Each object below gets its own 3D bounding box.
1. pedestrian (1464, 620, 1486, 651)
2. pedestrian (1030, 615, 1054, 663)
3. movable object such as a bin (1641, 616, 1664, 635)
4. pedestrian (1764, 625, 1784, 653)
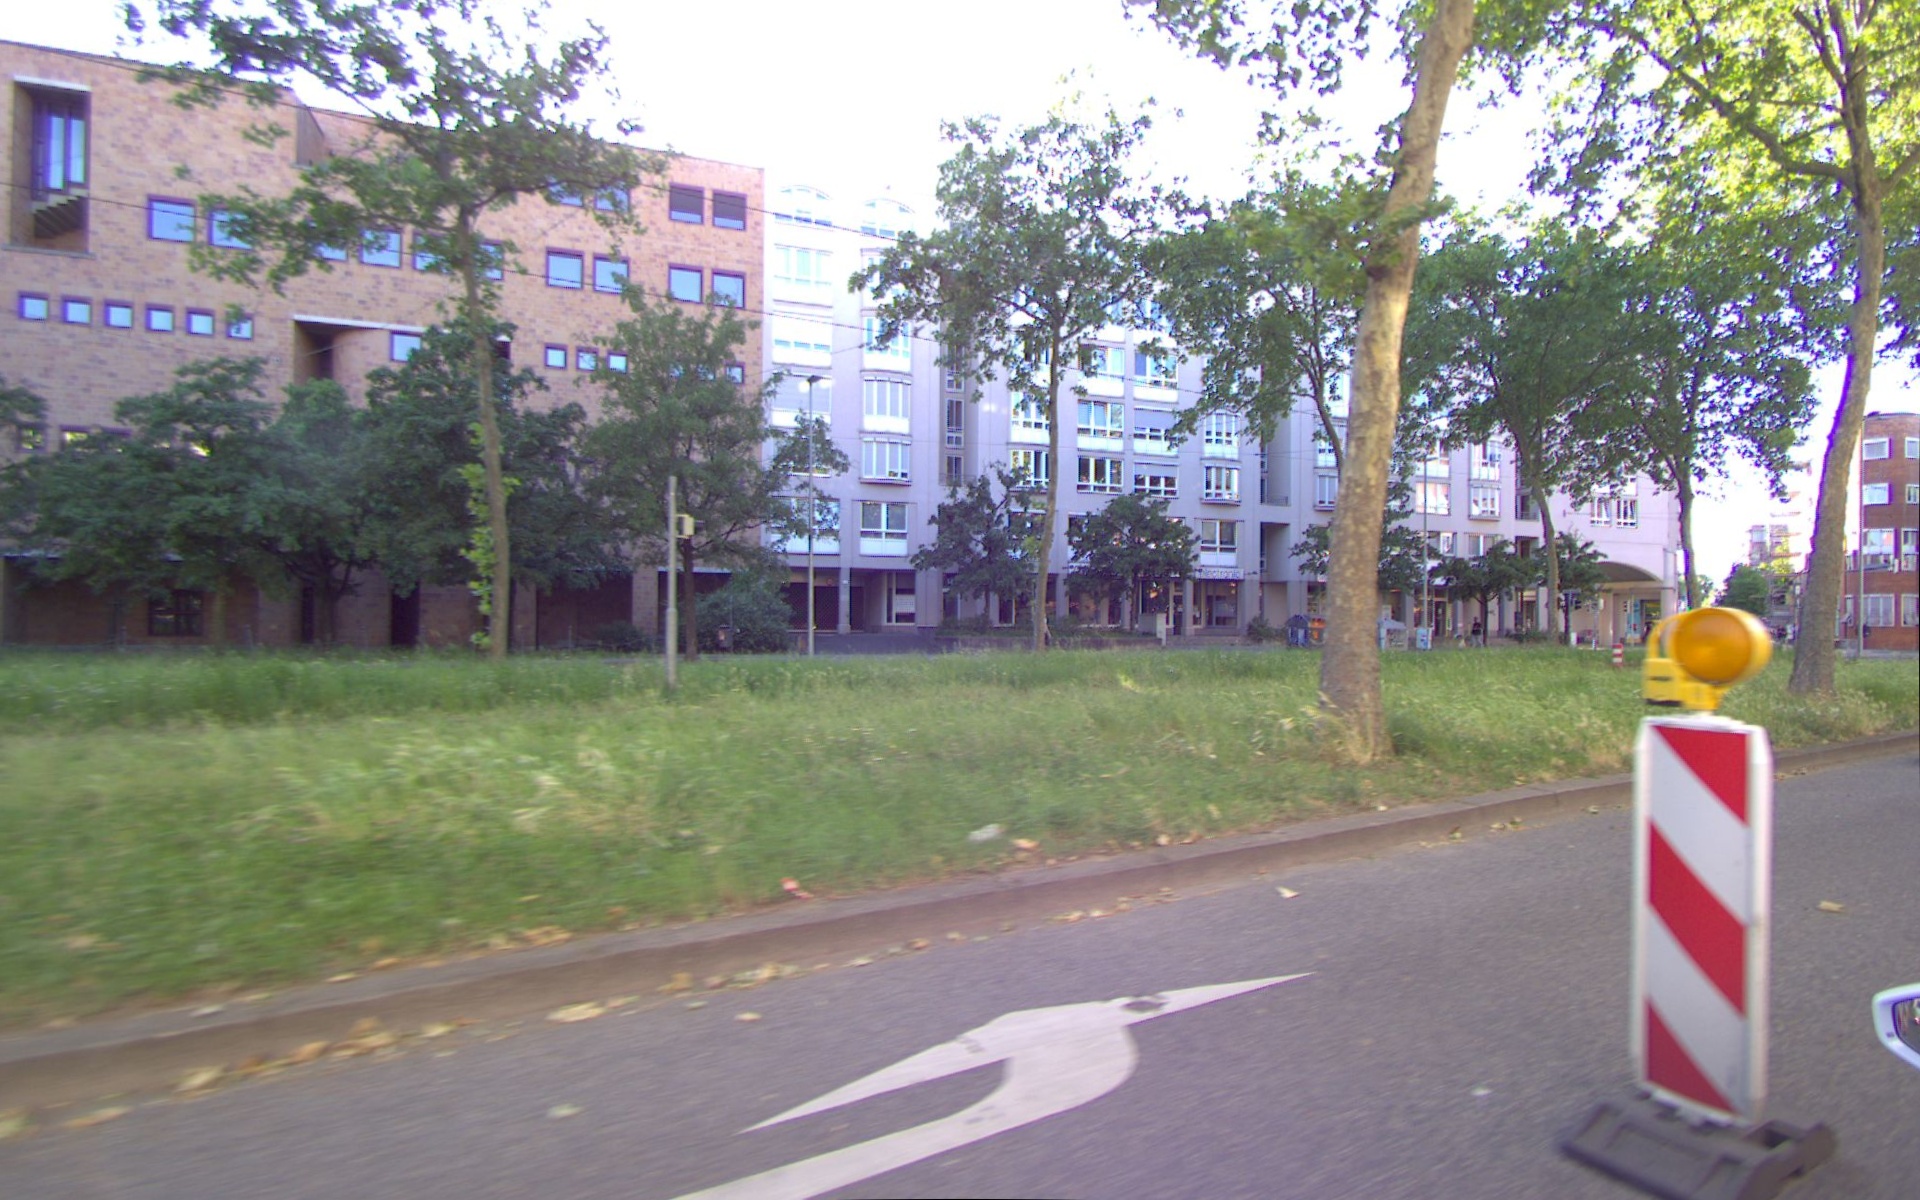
[{"bbox_3d":[27.768,1.922,54.139,0.776,1.660,0.706,1,-1,-20],"label":"pedestrian"},{"bbox_3d":[3.088,1.457,37.869,0.640,1.763,0.726,1,-1,-28],"label":"pedestrian"},{"bbox_3d":[85.293,3.139,123.707,1.906,2.341,2.771,-1,-1,44],"label":"movable object such as a bin"},{"bbox_3d":[56.670,2.707,69.920,0.741,1.894,0.853,1,-1,-23],"label":"pedestrian"}]
